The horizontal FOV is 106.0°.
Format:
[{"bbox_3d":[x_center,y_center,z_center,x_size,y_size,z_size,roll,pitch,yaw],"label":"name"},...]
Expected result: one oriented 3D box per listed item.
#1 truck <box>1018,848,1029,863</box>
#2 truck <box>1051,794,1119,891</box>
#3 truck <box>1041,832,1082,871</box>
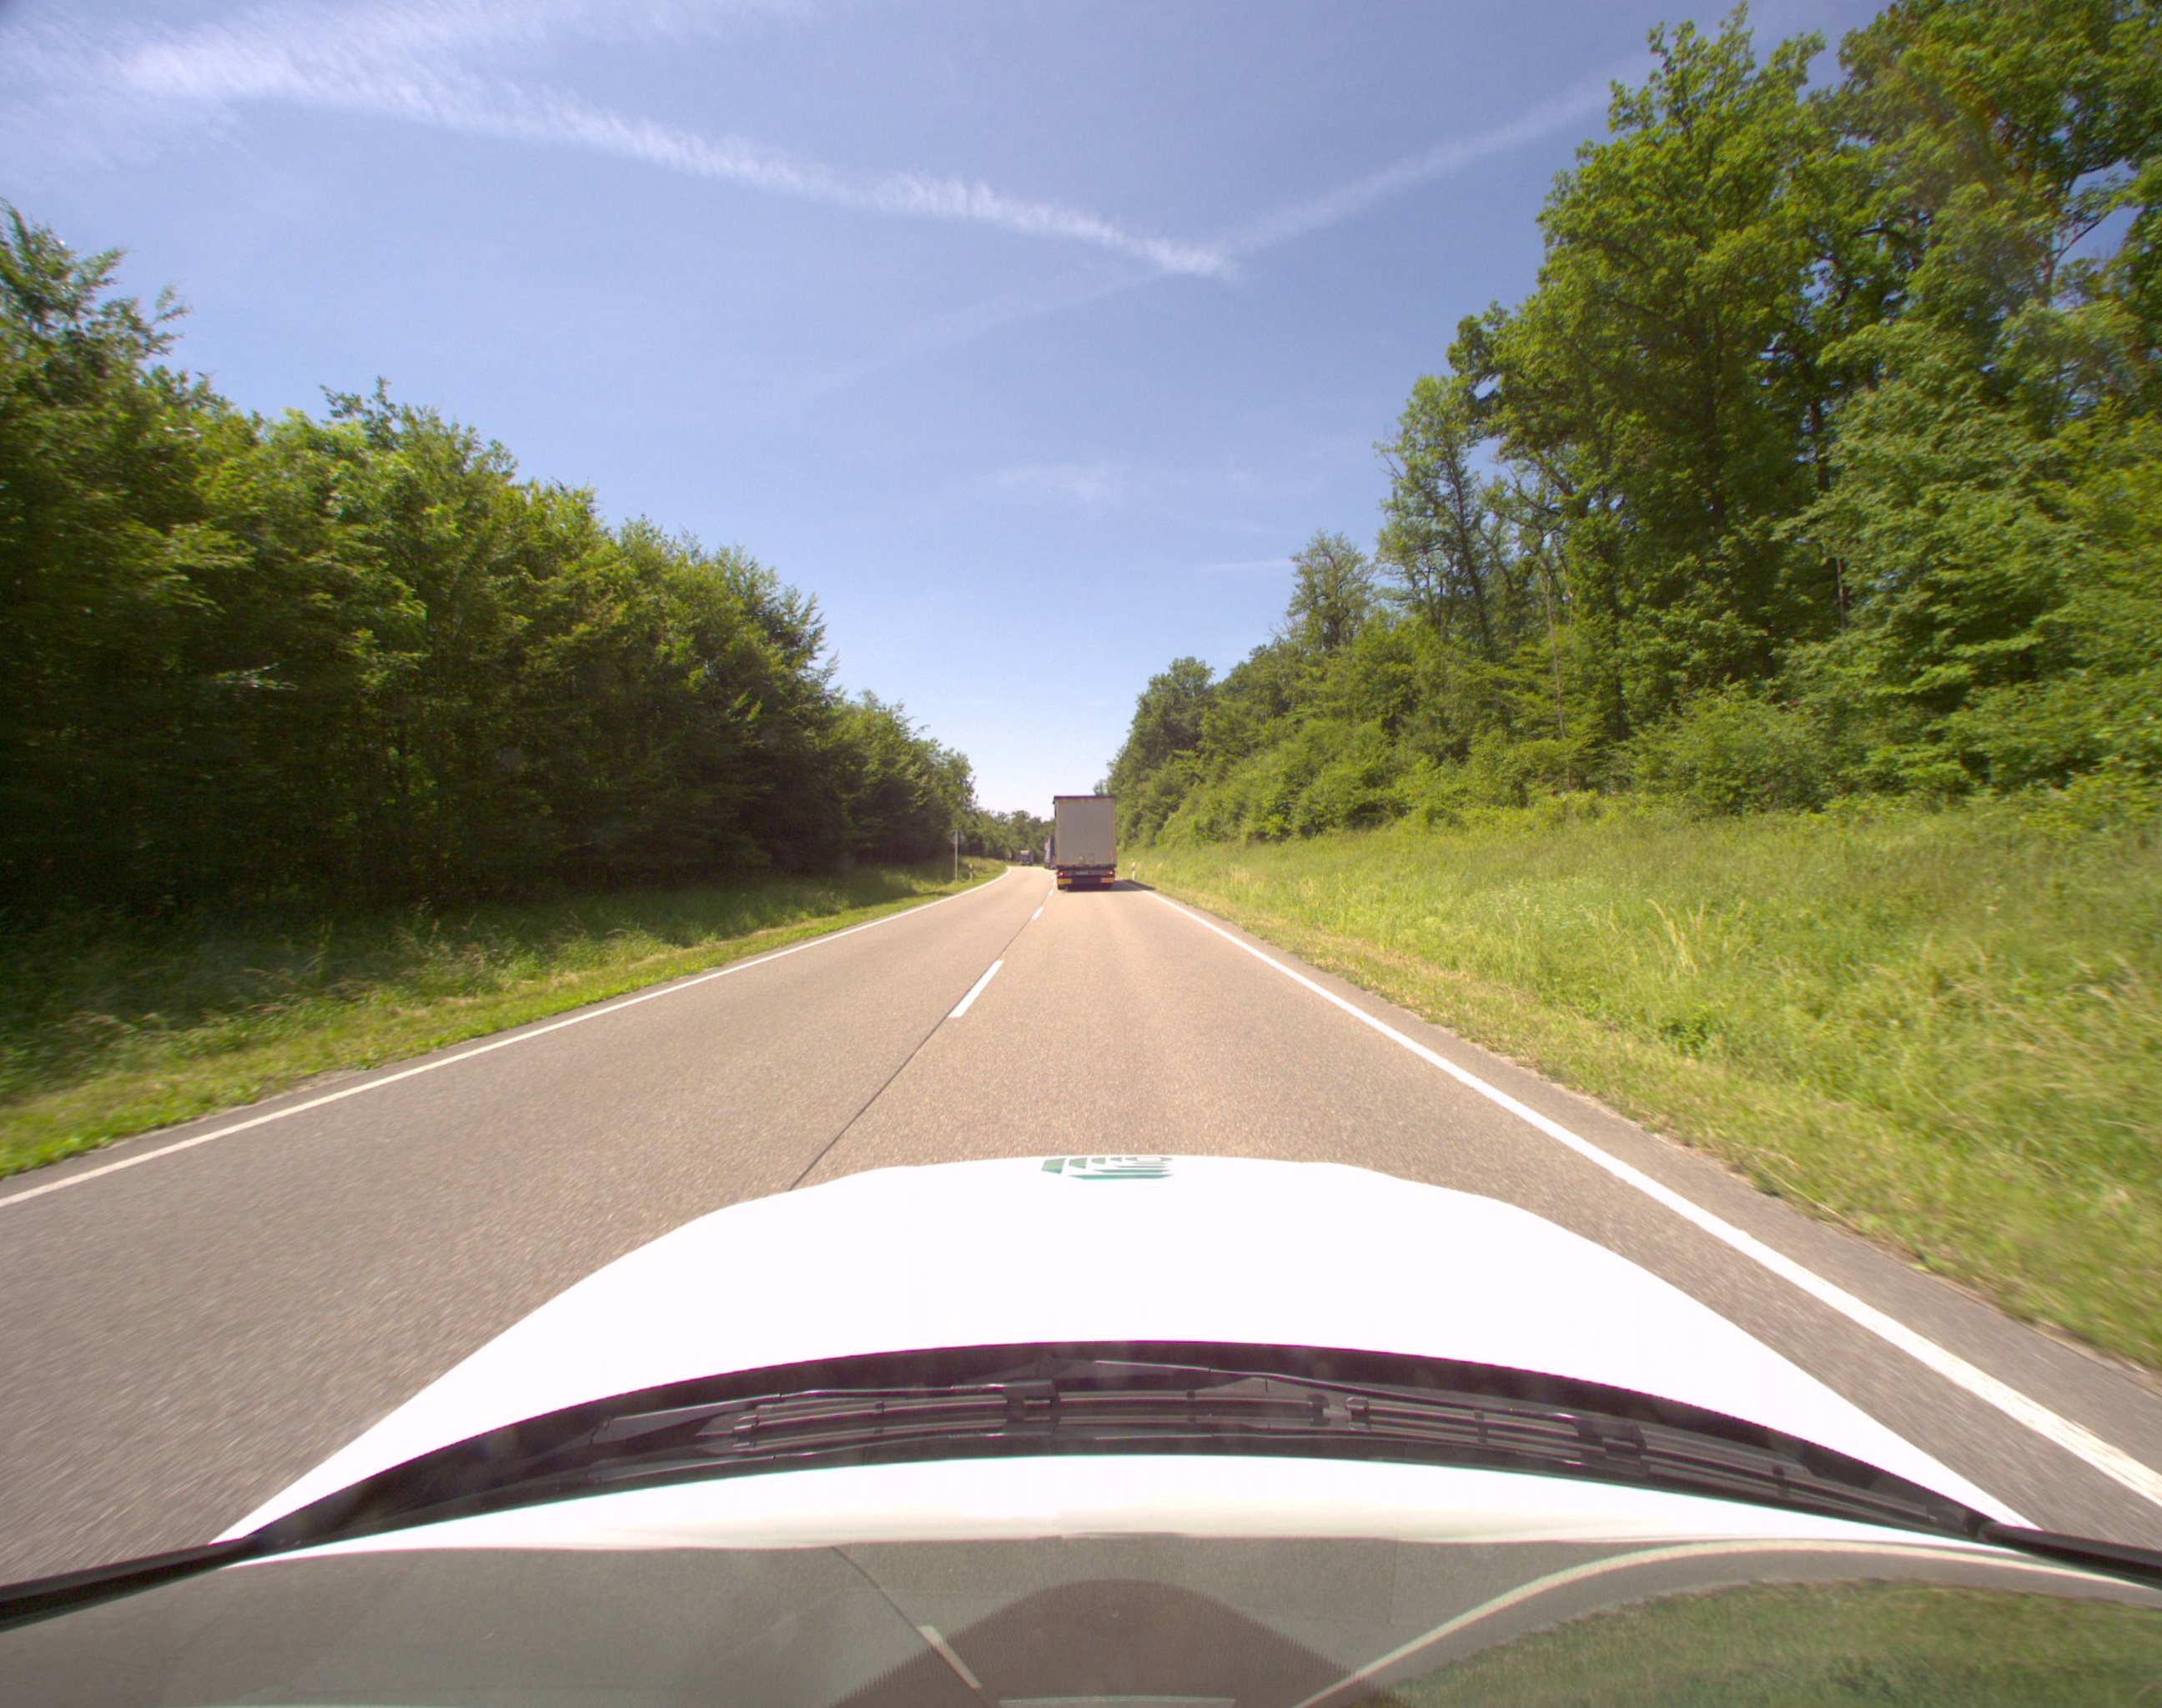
[{"bbox_3d":[-16.124,0.426,228.932,2.918,4.216,5.333,-2,0,-5],"label":"truck"},{"bbox_3d":[0.184,-0.477,39.511,2.752,3.947,12.196,-1,0,0],"label":"truck"},{"bbox_3d":[-2.574,-0.293,100.632,3.789,4.373,14.886,0,0,-6],"label":"truck"}]
